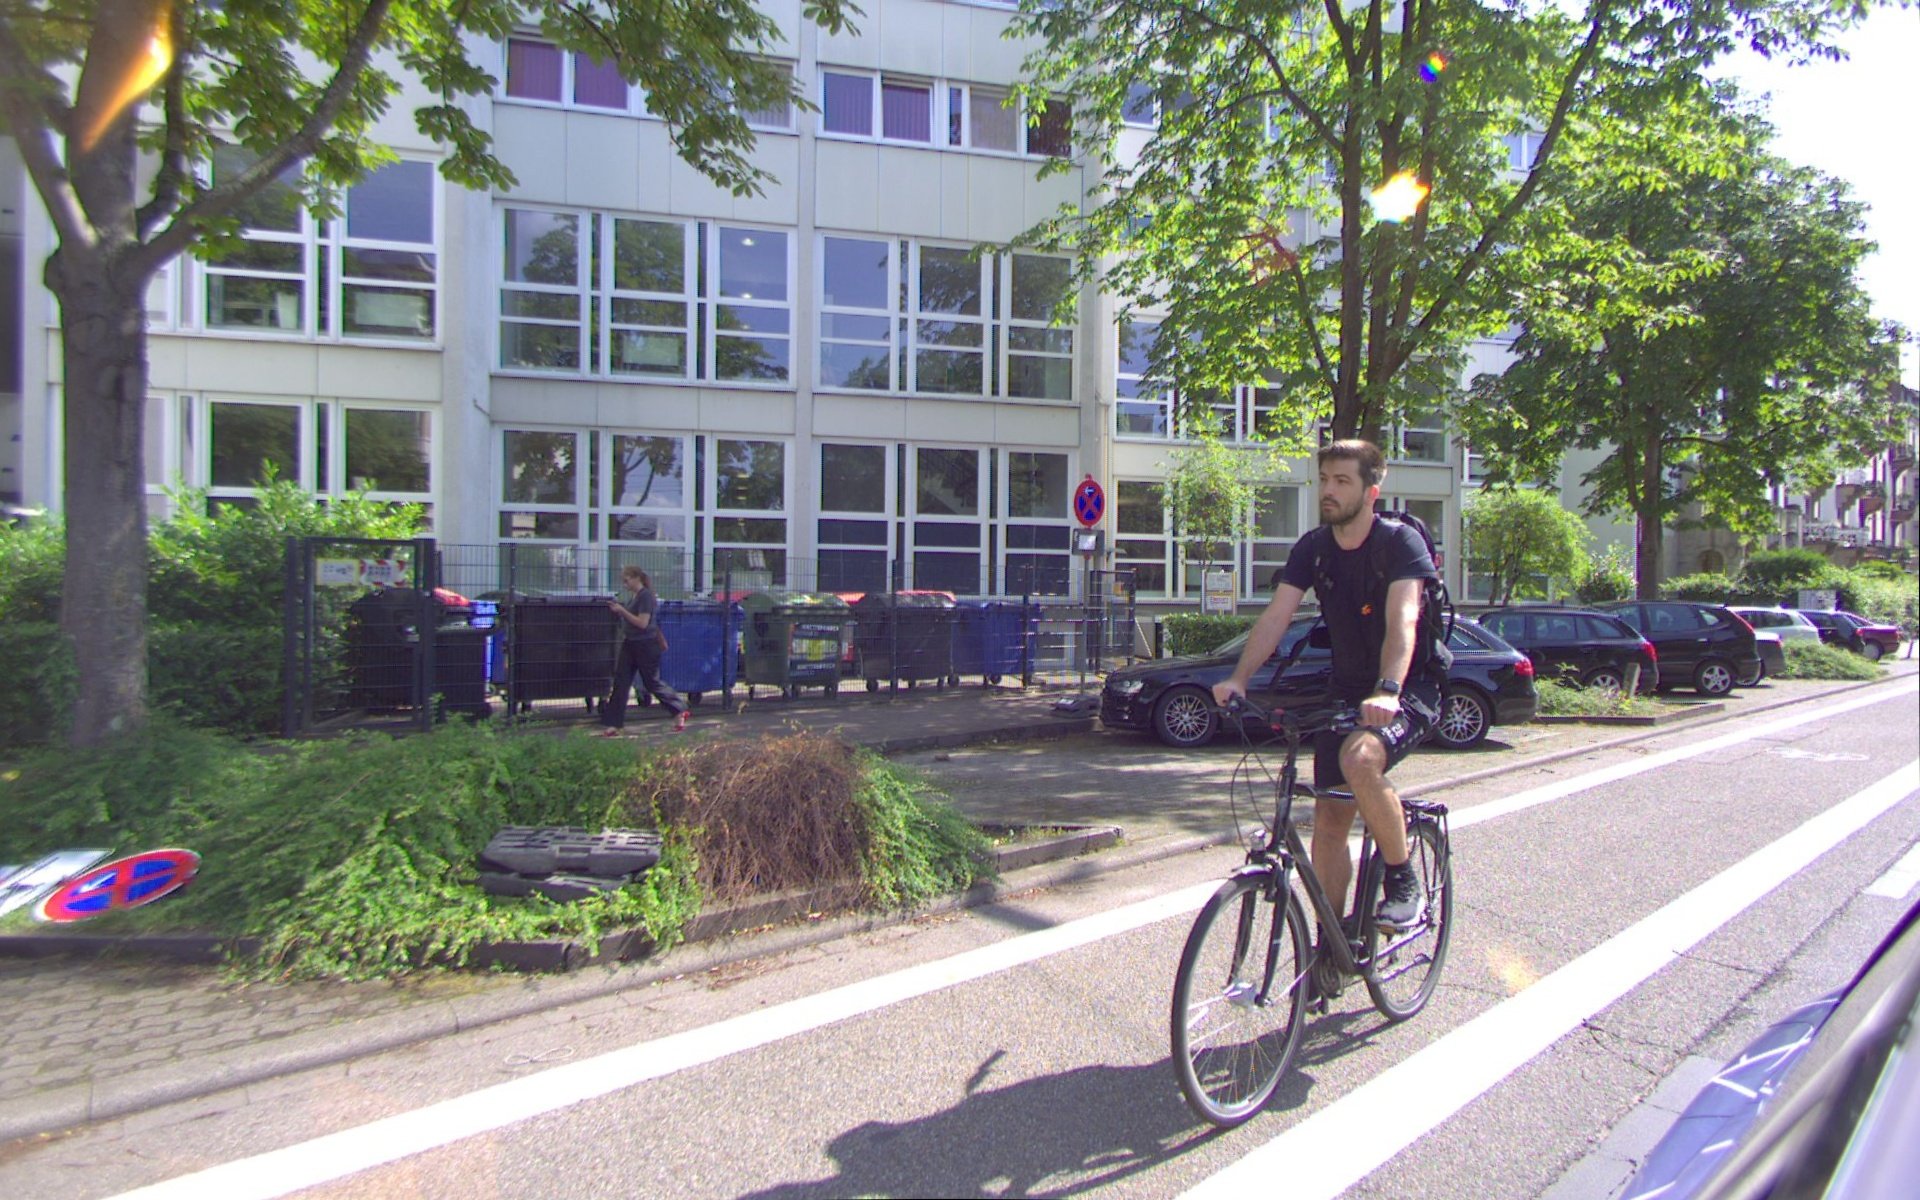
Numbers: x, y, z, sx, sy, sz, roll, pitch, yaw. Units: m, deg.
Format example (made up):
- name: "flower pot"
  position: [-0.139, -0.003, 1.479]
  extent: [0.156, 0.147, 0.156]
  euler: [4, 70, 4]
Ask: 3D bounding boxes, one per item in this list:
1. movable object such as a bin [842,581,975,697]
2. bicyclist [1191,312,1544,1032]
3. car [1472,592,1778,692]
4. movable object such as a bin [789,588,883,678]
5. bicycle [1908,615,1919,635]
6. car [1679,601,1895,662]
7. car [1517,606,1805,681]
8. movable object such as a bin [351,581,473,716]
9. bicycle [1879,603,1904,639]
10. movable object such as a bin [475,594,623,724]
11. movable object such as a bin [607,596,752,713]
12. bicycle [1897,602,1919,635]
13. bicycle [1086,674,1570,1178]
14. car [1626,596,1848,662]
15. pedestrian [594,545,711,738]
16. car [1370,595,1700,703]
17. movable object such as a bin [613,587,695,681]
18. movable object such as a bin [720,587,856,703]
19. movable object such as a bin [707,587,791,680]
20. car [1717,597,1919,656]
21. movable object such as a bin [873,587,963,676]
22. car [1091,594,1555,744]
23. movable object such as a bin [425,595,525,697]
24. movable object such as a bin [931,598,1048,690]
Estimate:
- name: "movable object such as a bin"
  position: [-0.740, 0.517, 14.544]
  extent: [1.443, 1.558, 1.277]
  euler: [0, 0, -39]
- name: "bicyclist"
  position: [1.374, 0.192, 3.371]
  extent: [1.110, 1.973, 0.608]
  euler: [0, -1, -40]
- name: "car"
  position: [11.311, 0.698, 17.508]
  extent: [3.934, 1.595, 1.900]
  euler: [-1, -1, 9]
- name: "movable object such as a bin"
  position: [-2.162, 0.540, 17.445]
  extent: [1.422, 1.474, 1.212]
  euler: [-1, 0, -16]
- name: "bicycle"
  position: [35.110, 0.907, 37.121]
  extent: [1.531, 0.685, 0.280]
  euler: [0, 4, -40]
- name: "car"
  position: [21.021, 0.771, 25.872]
  extent: [3.933, 1.467, 1.695]
  euler: [0, 0, 9]
- name: "car"
  position: [13.373, 0.807, 19.546]
  extent: [4.103, 1.366, 1.902]
  euler: [-1, -1, 6]
- name: "movable object such as a bin"
  position: [-6.445, 0.557, 11.988]
  extent: [0.918, 1.500, 1.270]
  euler: [1, -1, -12]
- name: "bicycle"
  position: [31.026, 0.680, 33.693]
  extent: [1.975, 1.122, 0.280]
  euler: [0, 4, -40]
- name: "movable object such as a bin"
  position: [-4.655, 0.623, 11.452]
  extent: [1.215, 1.353, 1.277]
  euler: [0, -1, -41]
- name: "movable object such as a bin"
  position: [-3.507, 0.641, 12.630]
  extent: [1.335, 1.353, 1.277]
  euler: [0, -1, -41]
- name: "bicycle"
  position: [33.675, 0.657, 35.913]
  extent: [1.975, 1.122, 0.280]
  euler: [0, 4, -40]
- name: "bicycle"
  position: [1.273, 0.867, 3.302]
  extent: [1.803, 1.057, 0.617]
  euler: [-1, 5, -40]
- name: "car"
  position: [18.290, 0.664, 23.960]
  extent: [3.930, 1.479, 1.533]
  euler: [0, 0, 6]
- name: "pedestrian"
  position: [-3.203, 0.402, 10.521]
  extent: [0.983, 1.897, 0.763]
  euler: [0, 0, -34]
- name: "car"
  position: [8.648, 0.718, 15.536]
  extent: [4.006, 1.462, 1.722]
  euler: [1, -2, 7]
- name: "movable object such as a bin"
  position: [-5.114, 0.538, 16.895]
  extent: [1.237, 1.465, 1.383]
  euler: [1, 2, -18]
- name: "movable object such as a bin"
  position: [-2.322, 0.595, 13.685]
  extent: [1.274, 1.456, 1.331]
  euler: [-3, -3, 43]
- name: "movable object such as a bin"
  position: [-3.611, 0.540, 17.213]
  extent: [1.237, 1.465, 1.383]
  euler: [1, 2, -18]
- name: "car"
  position: [23.558, 0.692, 27.690]
  extent: [4.091, 1.441, 1.862]
  euler: [1, 1, 9]
- name: "movable object such as a bin"
  position: [-0.770, 0.533, 17.900]
  extent: [1.237, 1.465, 1.383]
  euler: [1, 2, -18]
- name: "car"
  position: [3.766, 0.724, 11.306]
  extent: [4.457, 1.460, 2.028]
  euler: [-1, -1, 6]
- name: "movable object such as a bin"
  position: [-6.960, 0.635, 14.610]
  extent: [1.237, 1.355, 1.216]
  euler: [1, 2, -24]
- name: "movable object such as a bin"
  position: [0.449, 0.641, 15.699]
  extent: [1.302, 1.335, 1.278]
  euler: [0, 0, -39]
